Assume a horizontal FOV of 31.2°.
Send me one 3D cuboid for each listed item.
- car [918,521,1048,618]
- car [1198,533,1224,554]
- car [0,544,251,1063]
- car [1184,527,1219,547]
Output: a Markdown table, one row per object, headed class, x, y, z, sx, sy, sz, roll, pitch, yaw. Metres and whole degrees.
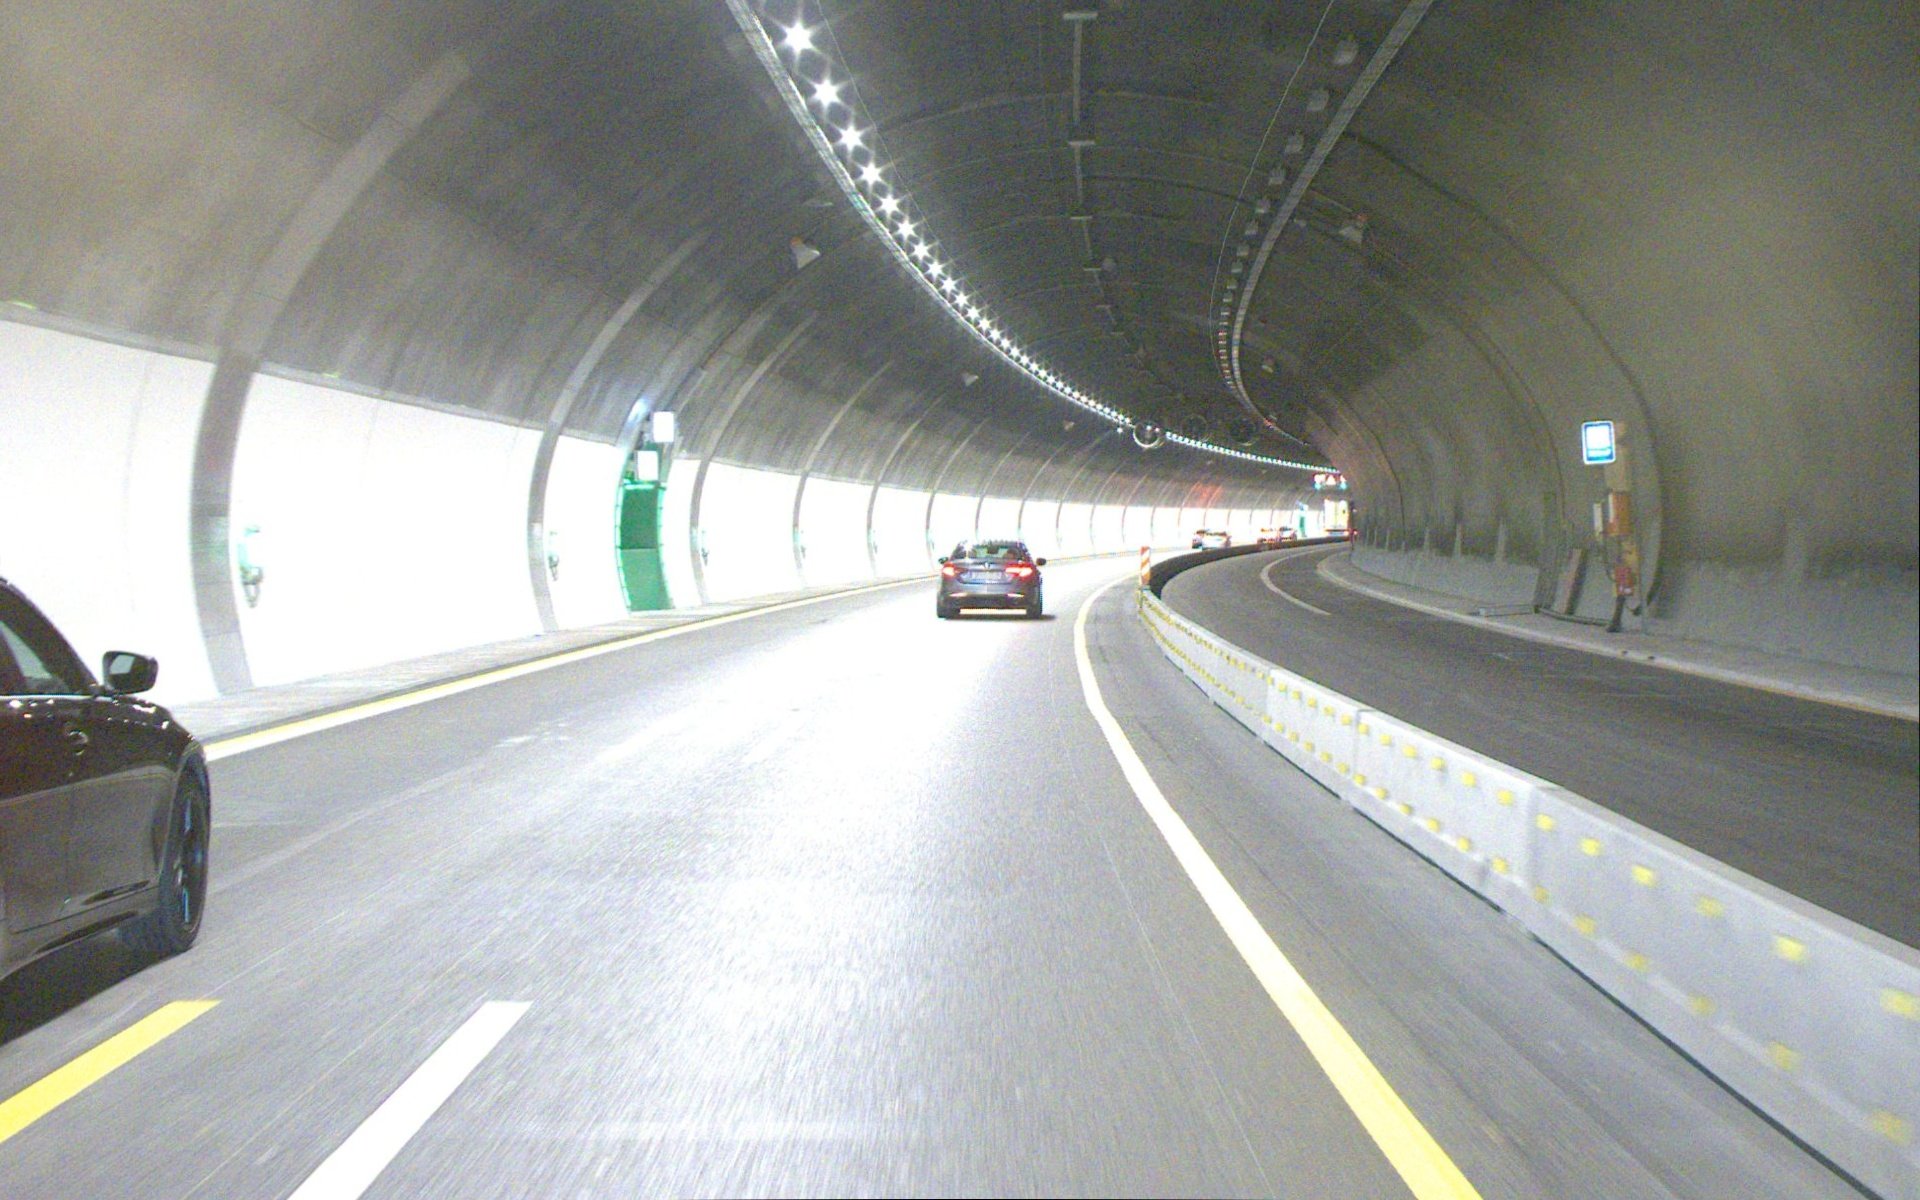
| class | x | y | z | sx | sy | sz | roll | pitch | yaw |
| --- | --- | --- | --- | --- | --- | --- | --- | --- | --- |
| car | 0.455 | -0.587 | 63.233 | 2.141 | 1.700 | 4.000 | 0 | 1 | 4 |
| car | 16.490 | -3.731 | 225.989 | 1.595 | 1.328 | 3.750 | 1 | 1 | 5 |
| car | -3.595 | 0.560 | 10.679 | 1.778 | 1.433 | 4.883 | 1 | 1 | 0 |
| car | 17.829 | -4.657 | 253.707 | 2.166 | 1.481 | 3.998 | 1 | 1 | 11 |
